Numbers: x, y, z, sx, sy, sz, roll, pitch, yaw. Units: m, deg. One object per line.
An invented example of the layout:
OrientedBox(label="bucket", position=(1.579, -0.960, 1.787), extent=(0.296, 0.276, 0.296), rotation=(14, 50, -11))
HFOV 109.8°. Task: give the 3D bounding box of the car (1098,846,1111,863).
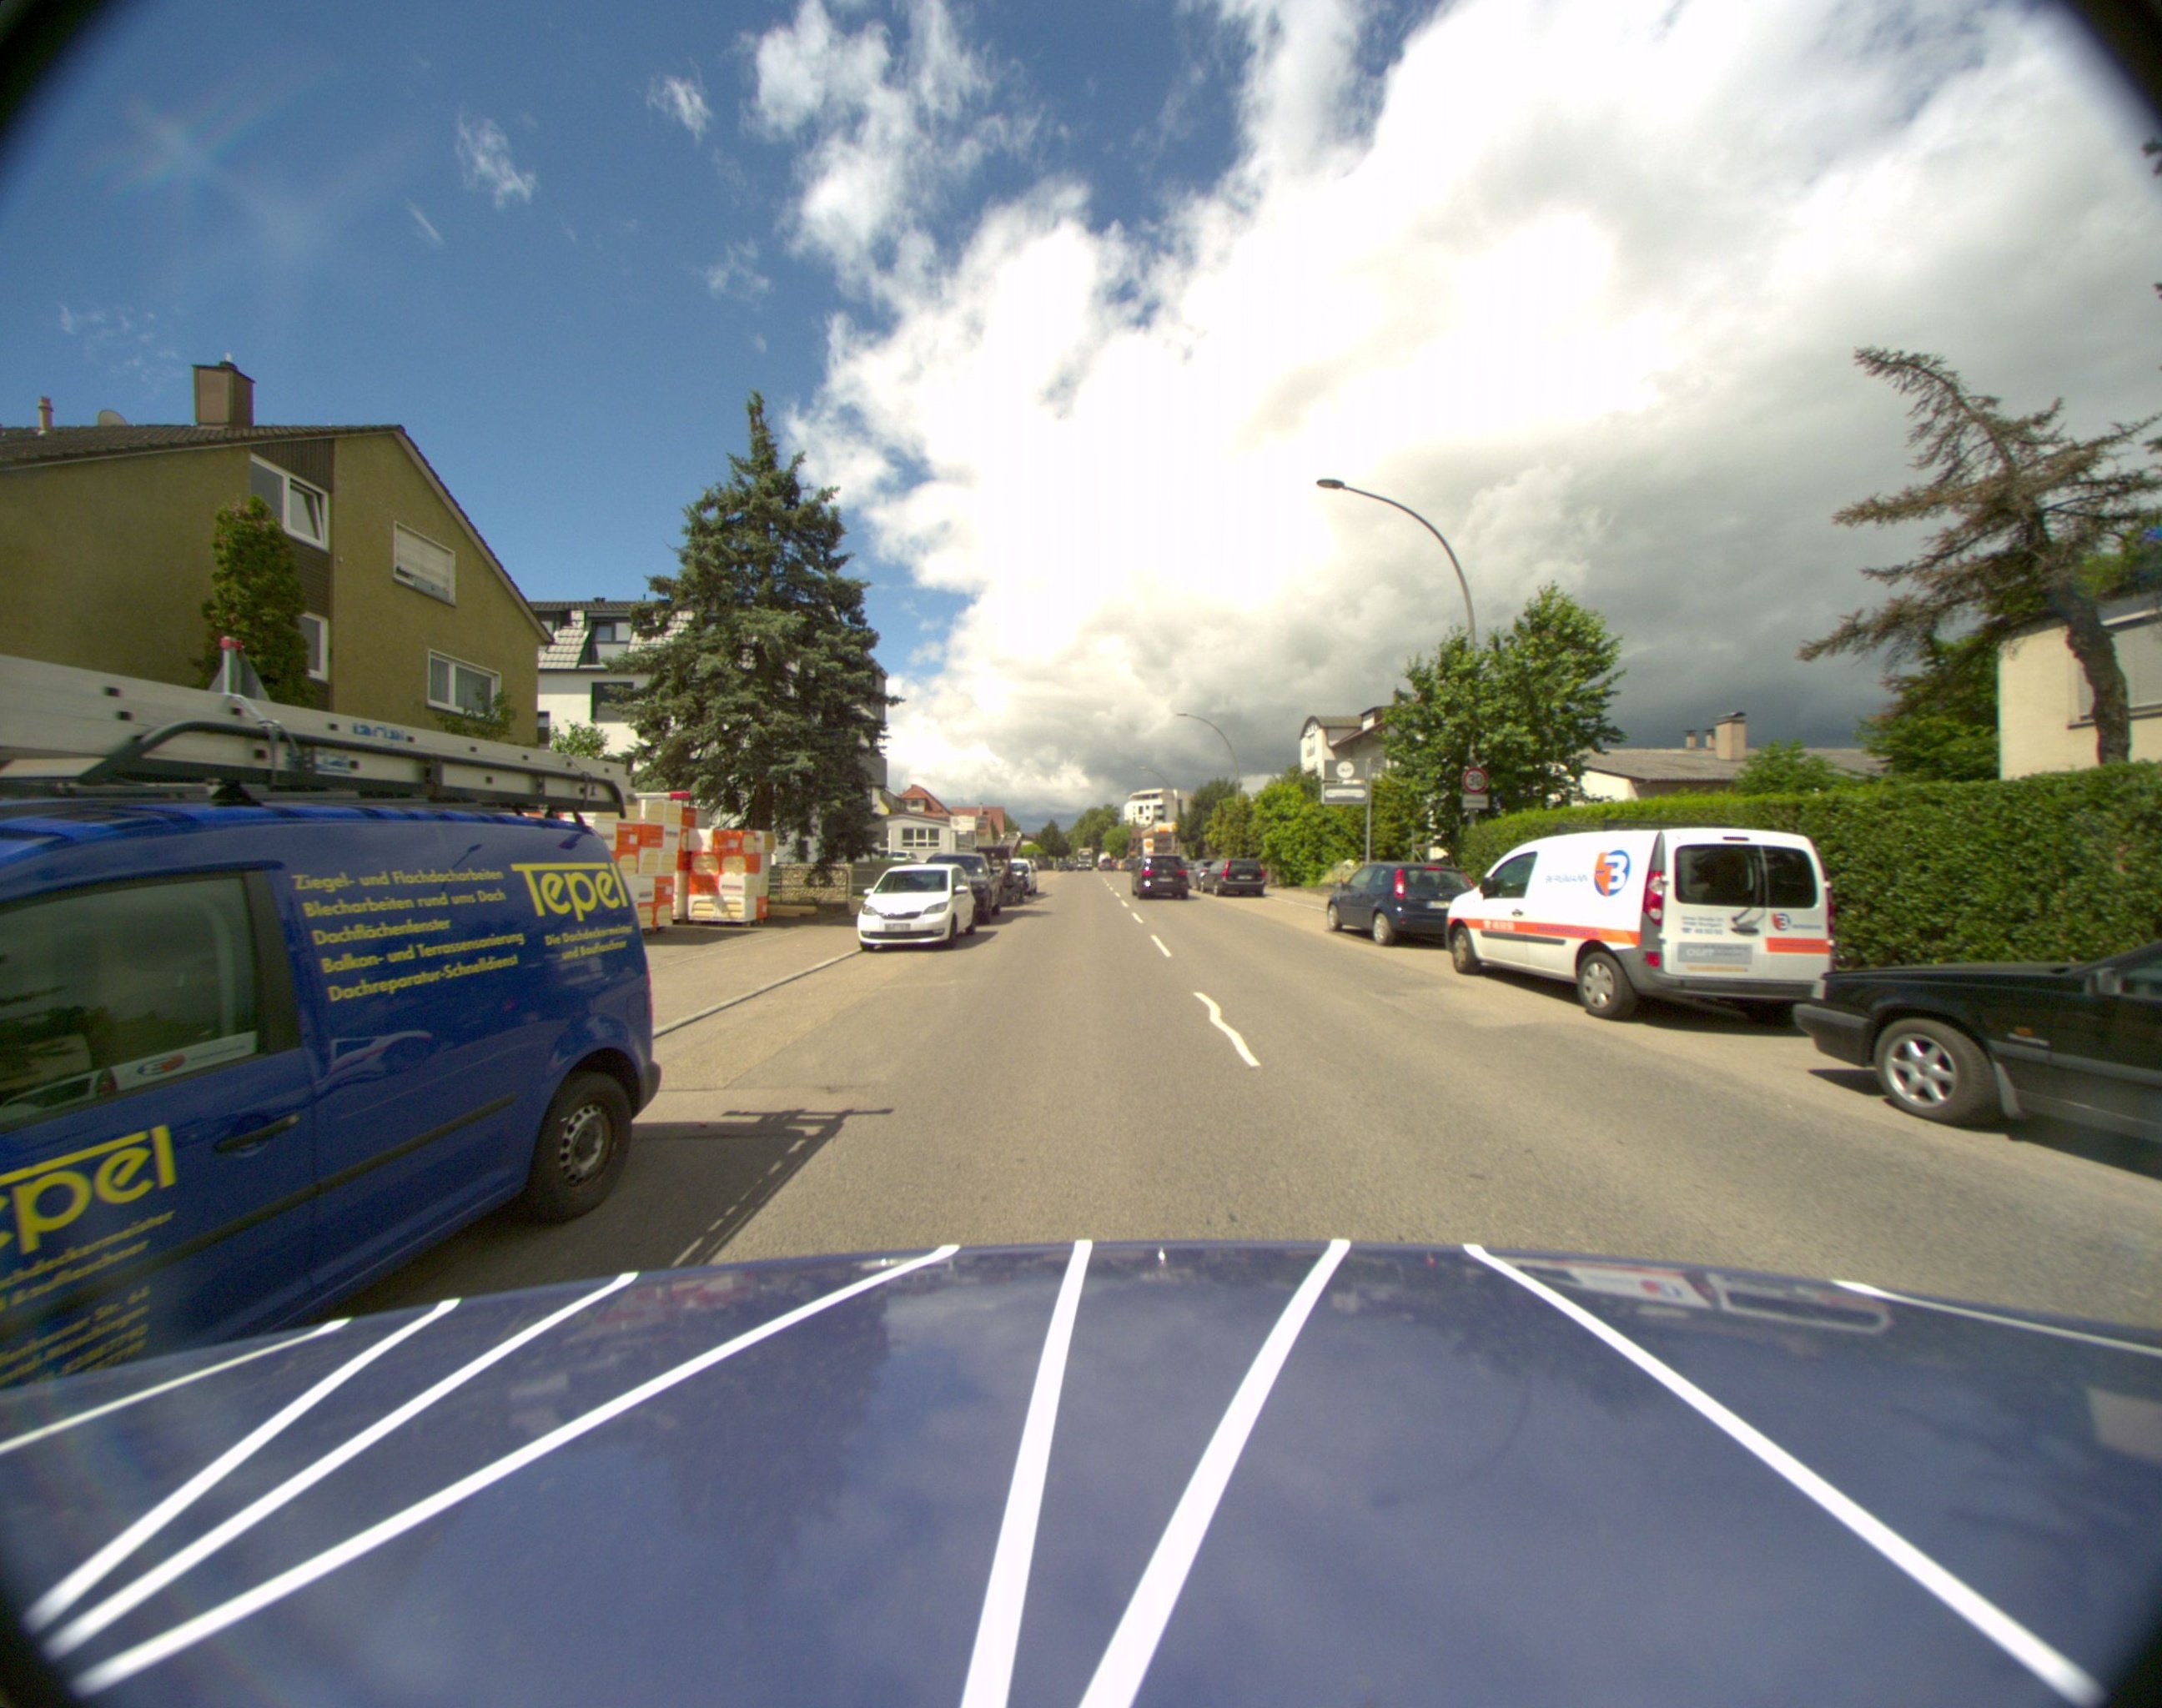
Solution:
OrientedBox(label="car", position=(3.890, 0.084, 127.111), extent=(1.997, 2.749, 6.164), rotation=(1, 0, 0))

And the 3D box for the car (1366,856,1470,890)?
OrientedBox(label="car", position=(15.656, 0.873, 35.399), extent=(3.987, 1.379, 1.897), rotation=(2, 0, 40))

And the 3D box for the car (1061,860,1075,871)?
OrientedBox(label="car", position=(-1.891, 1.630, 112.142), extent=(1.789, 1.548, 4.317), rotation=(-1, 0, 1))

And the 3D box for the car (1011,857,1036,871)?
OrientedBox(label="car", position=(-6.848, 1.156, 90.762), extent=(2.896, 1.516, 1.974), rotation=(3, 0, -3))

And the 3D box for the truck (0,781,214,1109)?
OrientedBox(label="truck", position=(-7.696, 0.495, 3.195), extent=(1.834, 2.069, 5.386), rotation=(3, -1, 0))

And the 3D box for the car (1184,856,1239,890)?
OrientedBox(label="car", position=(5.980, 0.835, 35.210), extent=(1.724, 1.423, 4.199), rotation=(1, 0, -1))

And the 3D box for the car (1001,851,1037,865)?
OrientedBox(label="car", position=(-7.703, 0.529, 94.604), extent=(4.419, 1.516, 1.974), rotation=(3, 0, -3))

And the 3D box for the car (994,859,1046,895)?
OrientedBox(label="car", position=(-2.566, 0.952, 32.801), extent=(1.723, 1.423, 3.984), rotation=(1, 0, 3))

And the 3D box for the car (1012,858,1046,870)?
OrientedBox(label="car", position=(-7.022, 1.286, 102.533), extent=(4.419, 1.399, 1.974), rotation=(3, 0, -3))

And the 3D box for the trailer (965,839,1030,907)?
OrientedBox(label="trailer", position=(-2.749, 0.601, 25.886), extent=(1.777, 2.132, 4.114), rotation=(0, 0, 0))

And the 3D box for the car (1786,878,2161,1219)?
OrientedBox(label="car", position=(5.681, 0.920, 2.804), extent=(1.748, 1.463, 4.644), rotation=(3, 0, -1))

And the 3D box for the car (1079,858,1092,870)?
OrientedBox(label="car", position=(0.692, 1.454, 115.659), extent=(1.891, 1.708, 3.999), rotation=(1, 0, 0))

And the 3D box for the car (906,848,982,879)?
OrientedBox(label="car", position=(-8.340, 0.594, 46.436), extent=(4.202, 1.644, 1.867), rotation=(3, 0, 0))

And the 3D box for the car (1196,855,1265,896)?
OrientedBox(label="car", position=(5.862, 0.807, 30.363), extent=(1.724, 1.484, 4.735), rotation=(1, 0, -1))

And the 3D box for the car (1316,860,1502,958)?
OrientedBox(label="car", position=(5.877, 0.900, 14.185), extent=(1.644, 1.478, 4.000), rotation=(3, 0, -1))

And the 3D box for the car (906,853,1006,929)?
OrientedBox(label="car", position=(-3.055, 0.856, 19.518), extent=(1.878, 1.717, 4.712), rotation=(0, 0, -1))

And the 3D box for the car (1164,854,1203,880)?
OrientedBox(label="car", position=(5.925, 0.745, 44.302), extent=(1.667, 1.406, 4.338), rotation=(1, 0, 0))

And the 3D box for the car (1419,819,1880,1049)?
OrientedBox(label="car", position=(5.683, 0.679, 8.473), extent=(1.748, 1.827, 4.355), rotation=(3, 0, -1))

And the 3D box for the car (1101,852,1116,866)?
OrientedBox(label="car", position=(3.664, 0.714, 102.080), extent=(1.667, 1.785, 4.338), rotation=(1, 0, -1))

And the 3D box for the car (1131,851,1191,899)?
OrientedBox(label="car", position=(2.868, 0.735, 28.143), extent=(1.748, 1.618, 4.356), rotation=(-1, 0, 0))

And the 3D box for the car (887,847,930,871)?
OrientedBox(label="car", position=(-11.722, 0.383, 51.921), extent=(1.634, 1.510, 3.667), rotation=(3, -1, 8))

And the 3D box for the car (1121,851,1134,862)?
OrientedBox(label="car", position=(6.753, 0.353, 111.292), extent=(1.666, 1.505, 3.946), rotation=(3, 0, 1))

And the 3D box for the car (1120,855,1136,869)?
OrientedBox(label="car", position=(6.208, 0.996, 100.765), extent=(1.733, 1.727, 4.190), rotation=(3, 0, 0))

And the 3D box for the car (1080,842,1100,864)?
OrientedBox(label="car", position=(1.509, -0.100, 134.602), extent=(3.263, 3.595, 10.269), rotation=(-1, -1, -1))

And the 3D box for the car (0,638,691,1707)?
OrientedBox(label="car", position=(-3.120, 0.669, 1.874), extent=(1.878, 2.156, 4.464), rotation=(-2, 0, 1))

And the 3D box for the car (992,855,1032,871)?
OrientedBox(label="car", position=(-7.814, 1.044, 86.199), extent=(4.419, 1.599, 1.974), rotation=(3, 0, -3))

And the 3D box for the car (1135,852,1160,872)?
OrientedBox(label="car", position=(6.419, 0.764, 73.876), extent=(1.915, 1.810, 5.430), rotation=(3, 0, 0))

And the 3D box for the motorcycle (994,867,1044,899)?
OrientedBox(label="motorcycle", position=(-2.382, 1.102, 29.421), extent=(1.826, 1.202, 0.715), rotation=(0, 0, -35))

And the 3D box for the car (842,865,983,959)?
OrientedBox(label="car", position=(-3.022, 0.980, 14.488), extent=(1.777, 1.499, 4.000), rotation=(0, 0, 0))
